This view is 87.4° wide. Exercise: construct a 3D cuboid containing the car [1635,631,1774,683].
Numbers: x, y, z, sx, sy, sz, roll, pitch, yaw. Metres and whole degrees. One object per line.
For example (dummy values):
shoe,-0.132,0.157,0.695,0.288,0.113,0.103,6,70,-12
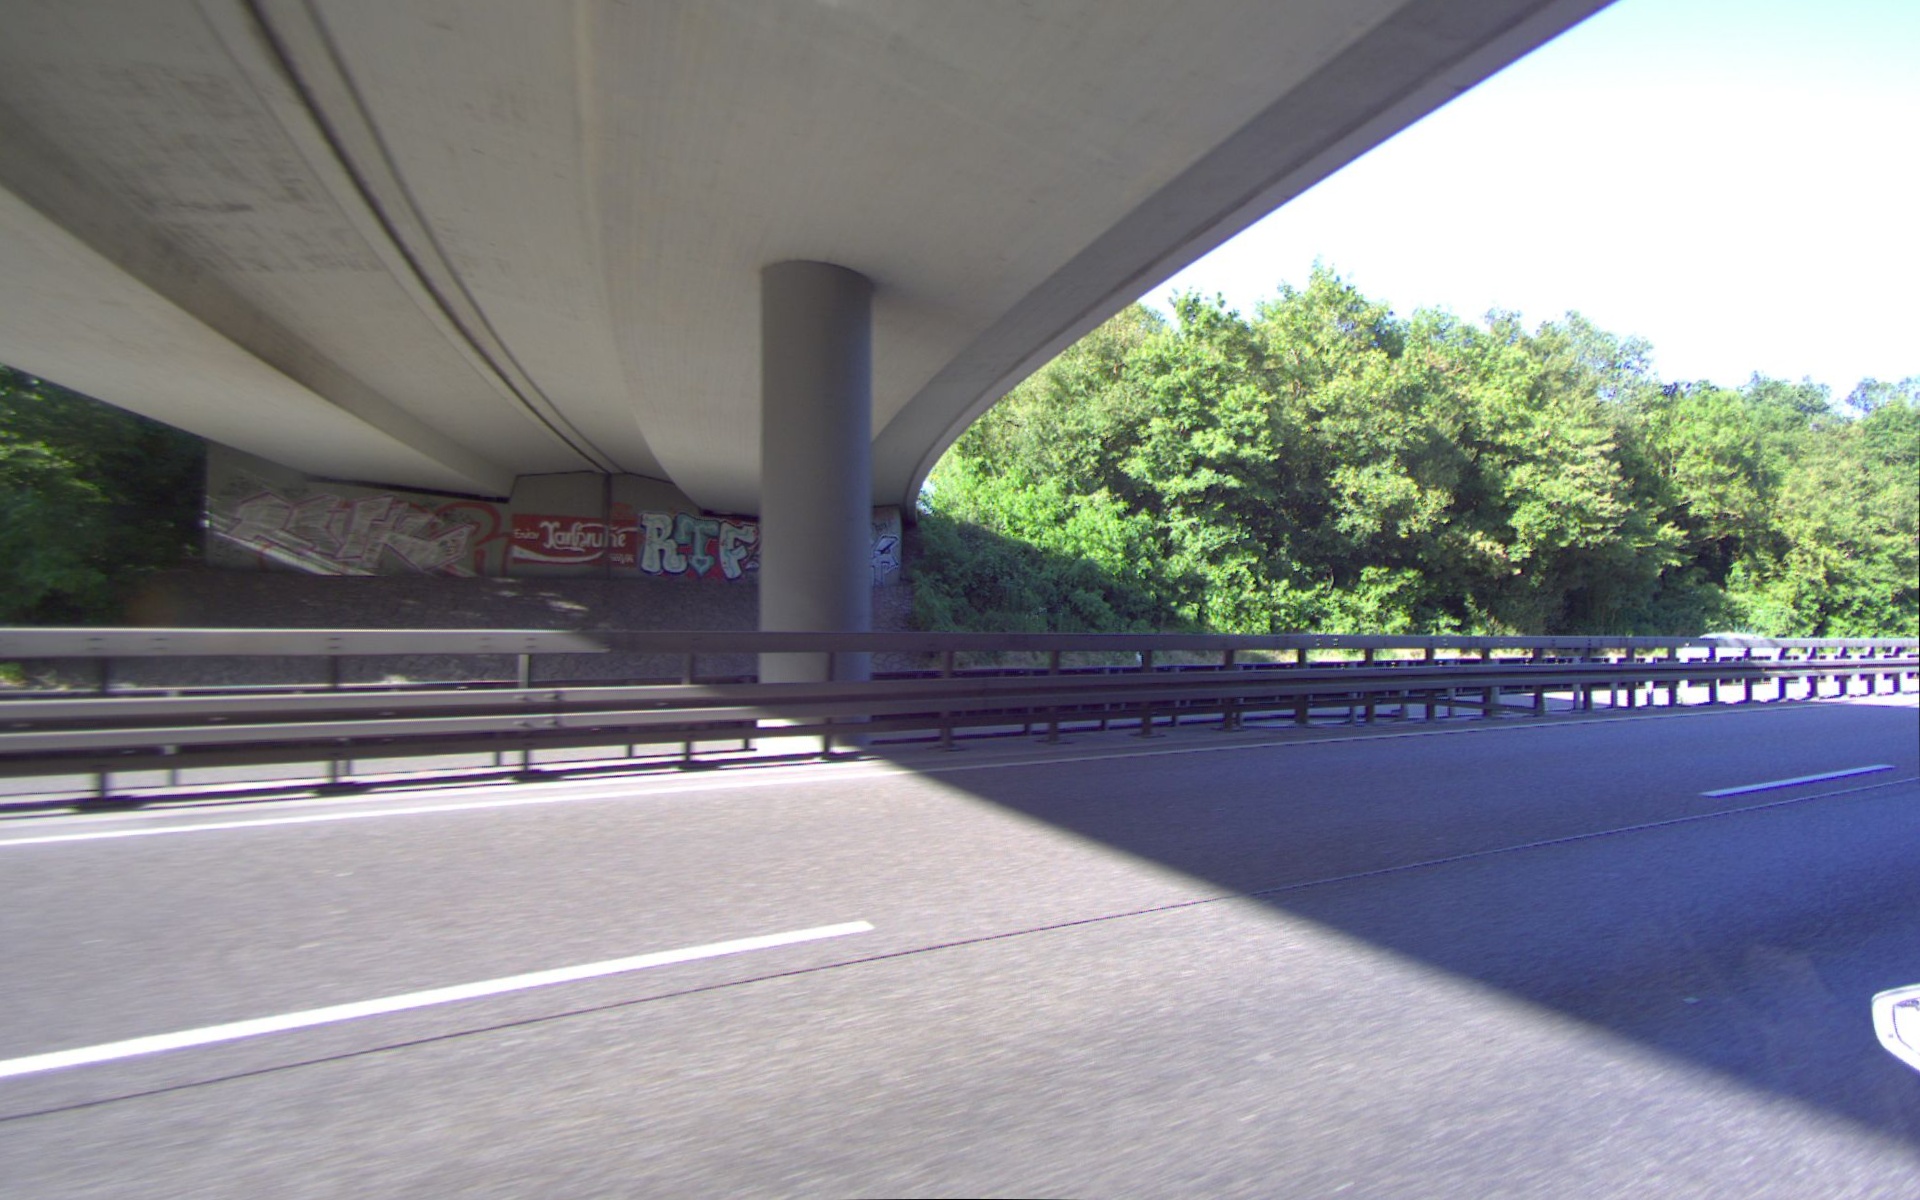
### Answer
car,25.574,1.918,34.495,4.668,1.615,1.986,1,0,-28
